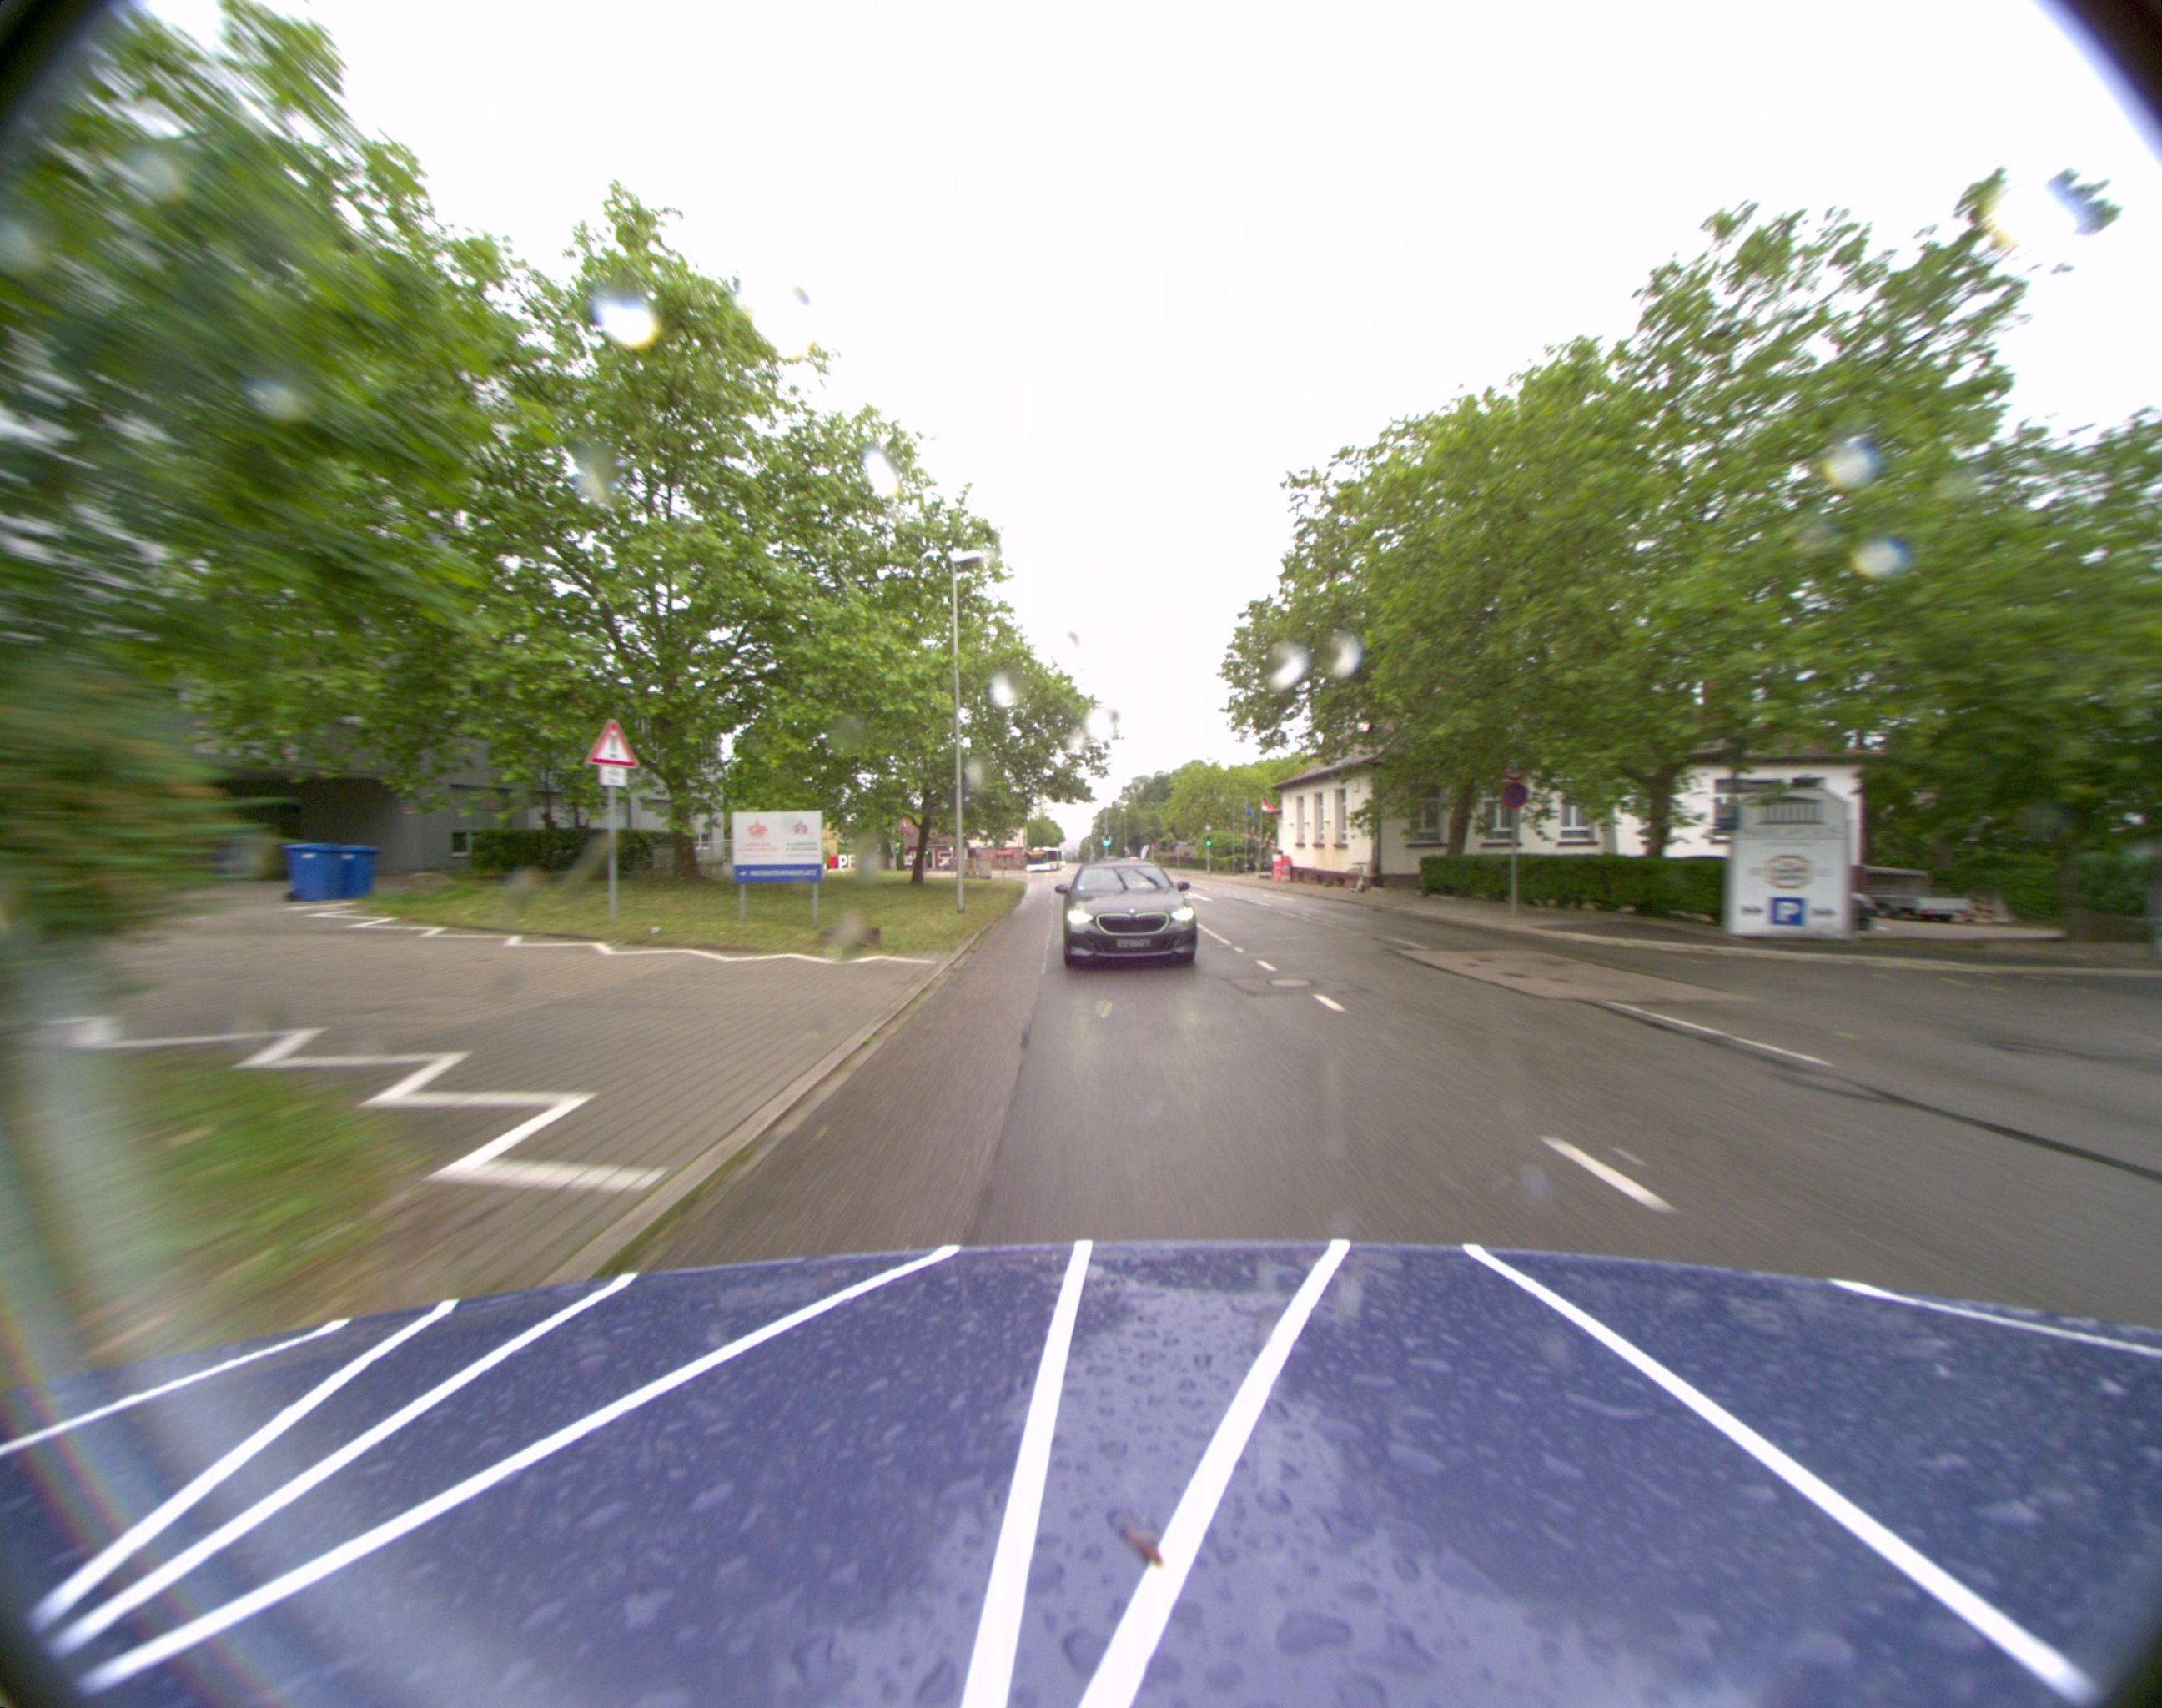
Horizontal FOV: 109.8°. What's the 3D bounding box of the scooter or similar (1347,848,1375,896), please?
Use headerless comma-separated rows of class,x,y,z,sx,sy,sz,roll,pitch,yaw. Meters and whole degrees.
scooter or similar,10.561,0.654,28.691,0.402,1.765,1.512,-1,1,-4

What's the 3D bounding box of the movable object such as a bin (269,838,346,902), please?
movable object such as a bin,-14.256,0.295,14.022,0.670,1.114,0.662,-3,1,-6

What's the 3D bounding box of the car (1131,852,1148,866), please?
car,7.975,0.668,103.352,1.997,1.674,4.001,2,2,7

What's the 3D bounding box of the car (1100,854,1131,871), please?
car,3.349,0.827,74.794,2.001,1.652,4.299,0,0,-12

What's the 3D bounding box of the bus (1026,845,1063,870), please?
bus,-4.525,0.354,97.271,2.896,2.770,10.390,-3,0,7

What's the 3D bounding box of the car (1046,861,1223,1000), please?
car,0.555,0.929,11.180,1.999,1.586,4.146,-2,0,-4

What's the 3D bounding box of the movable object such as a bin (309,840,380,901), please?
movable object such as a bin,-14.326,0.308,14.802,0.670,1.114,0.662,-3,1,-6

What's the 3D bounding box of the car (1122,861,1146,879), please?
car,4.621,1.415,67.041,1.998,1.420,4.390,3,-1,3
